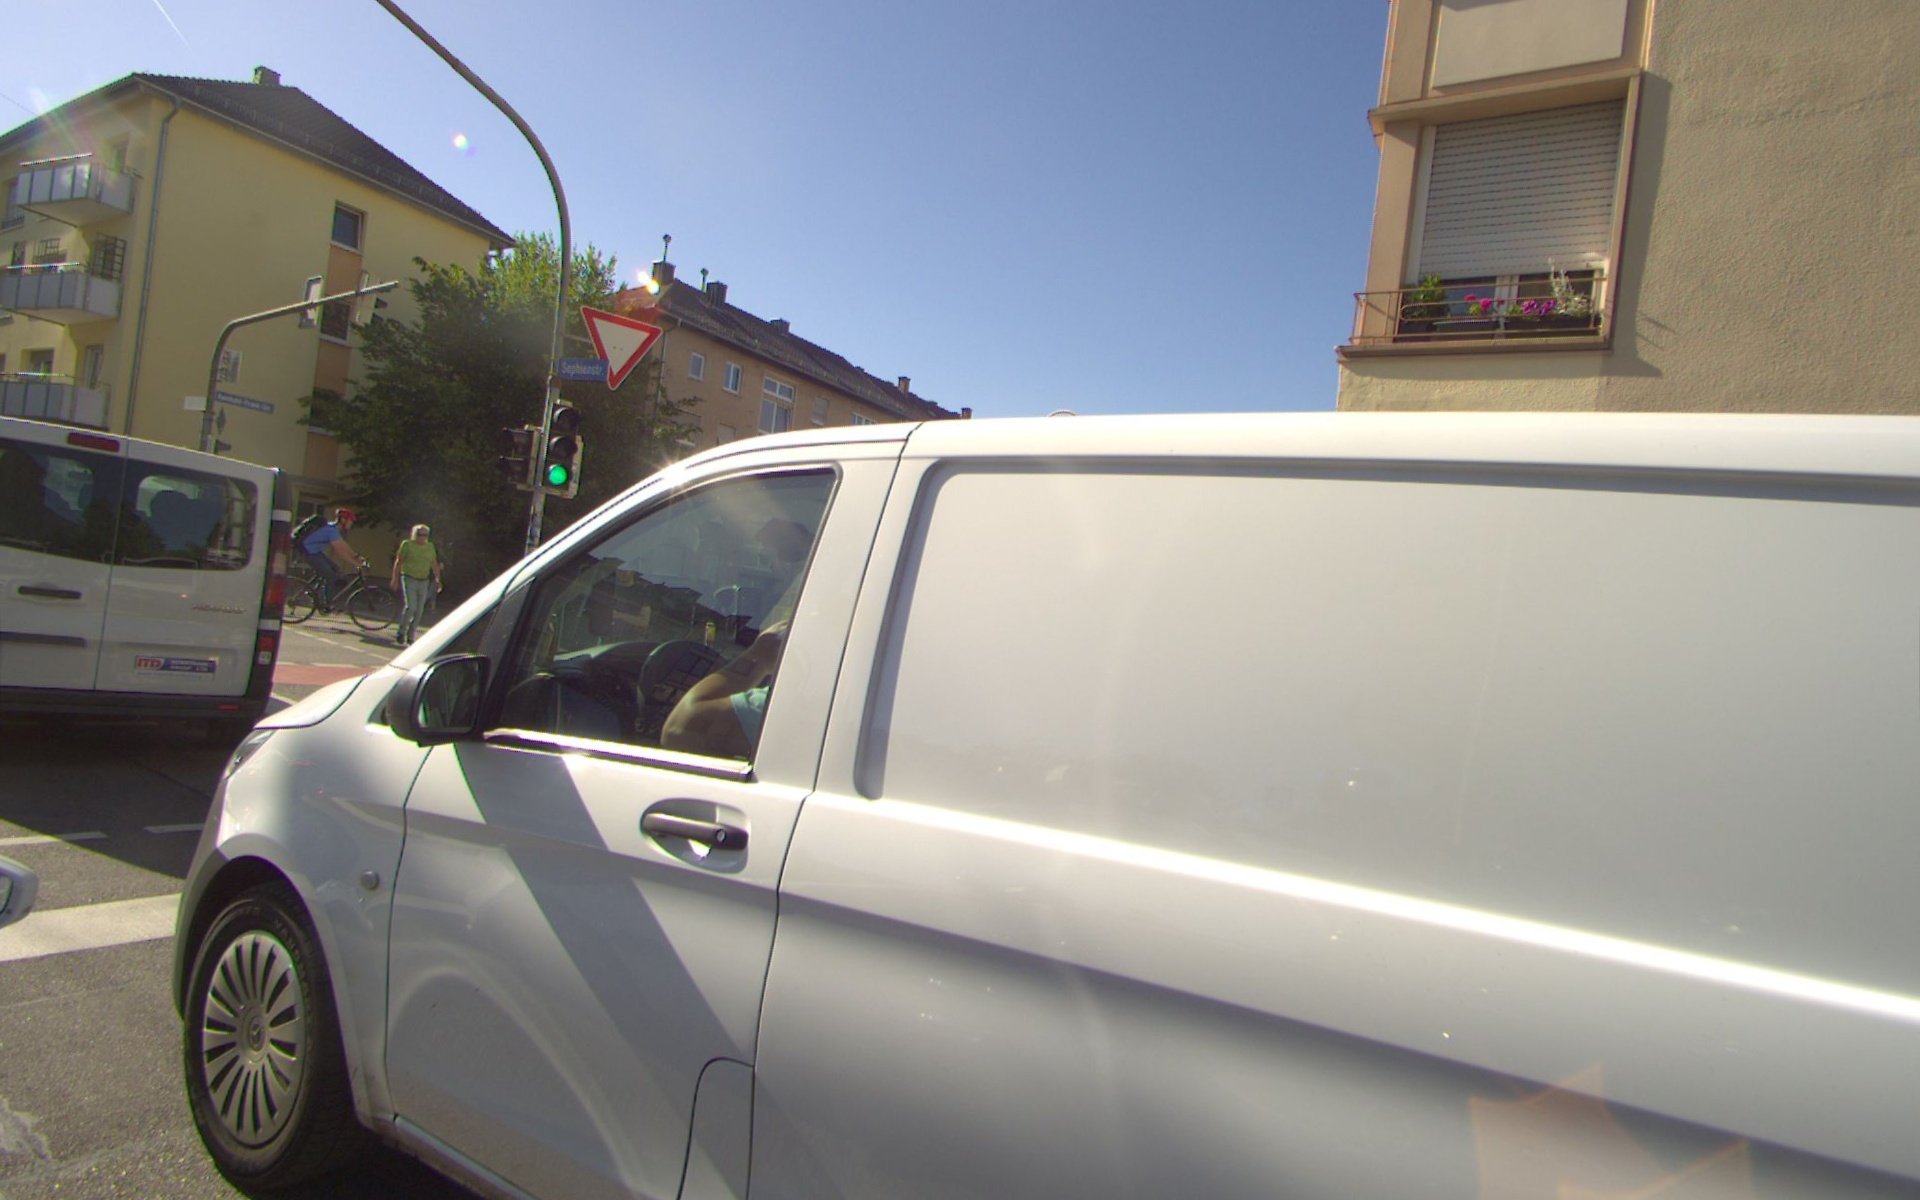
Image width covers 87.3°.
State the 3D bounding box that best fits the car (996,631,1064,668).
[{"bbox_3d":[3.400,2.412,48.458,1.658,1.429,3.516,7,-1,32],"label":"car"}]

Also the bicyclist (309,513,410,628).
[{"bbox_3d":[-9.603,-0.470,16.087,1.117,1.669,0.795,7,0,-41],"label":"bicyclist"}]

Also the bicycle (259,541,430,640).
[{"bbox_3d":[-9.751,-0.132,16.000,2.124,1.270,0.795,8,-1,-41],"label":"bicycle"}]

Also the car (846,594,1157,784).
[{"bbox_3d":[0.681,1.041,11.937,1.795,1.682,3.993,7,-1,32],"label":"car"}]

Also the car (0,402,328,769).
[{"bbox_3d":[-6.611,-0.181,7.580,1.964,1.962,4.993,10,-3,-44],"label":"car"}]

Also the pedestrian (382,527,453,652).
[{"bbox_3d":[-8.178,-0.150,15.161,0.613,1.783,0.526,7,0,30],"label":"pedestrian"}]

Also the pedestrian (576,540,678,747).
[{"bbox_3d":[-3.134,0.399,9.437,0.599,1.844,0.624,7,0,-29],"label":"pedestrian"}]

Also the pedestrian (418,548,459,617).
[{"bbox_3d":[-12.739,-0.423,24.571,0.530,1.590,0.539,7,0,32],"label":"pedestrian"}]

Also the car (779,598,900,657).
[{"bbox_3d":[-4.132,0.995,35.051,1.967,1.592,3.993,7,-1,32],"label":"car"}]

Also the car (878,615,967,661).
[{"bbox_3d":[-1.427,1.504,39.542,1.658,1.429,3.516,7,-1,32],"label":"car"}]

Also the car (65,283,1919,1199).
[{"bbox_3d":[0.311,0.627,2.230,4.752,1.832,1.972,7,-1,31],"label":"car"}]
